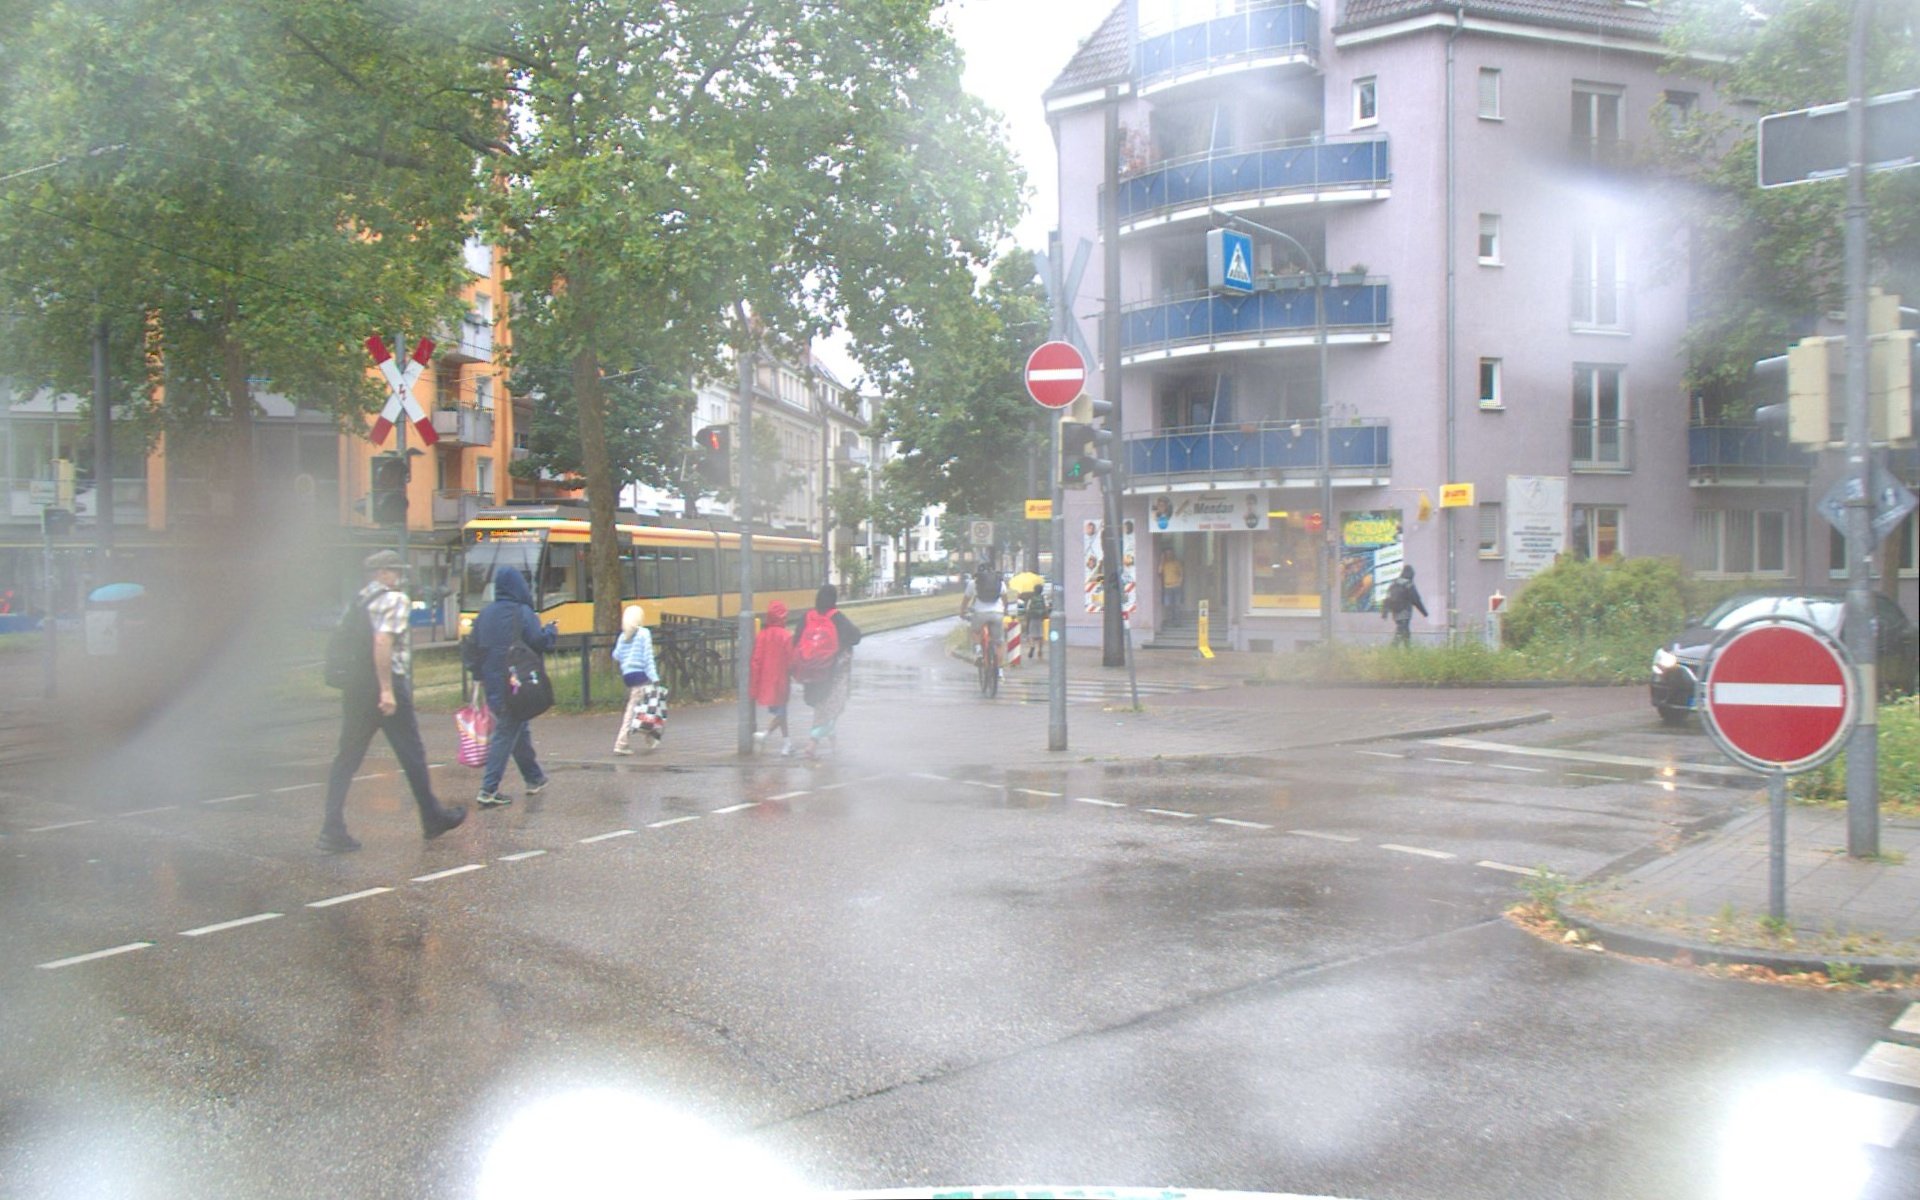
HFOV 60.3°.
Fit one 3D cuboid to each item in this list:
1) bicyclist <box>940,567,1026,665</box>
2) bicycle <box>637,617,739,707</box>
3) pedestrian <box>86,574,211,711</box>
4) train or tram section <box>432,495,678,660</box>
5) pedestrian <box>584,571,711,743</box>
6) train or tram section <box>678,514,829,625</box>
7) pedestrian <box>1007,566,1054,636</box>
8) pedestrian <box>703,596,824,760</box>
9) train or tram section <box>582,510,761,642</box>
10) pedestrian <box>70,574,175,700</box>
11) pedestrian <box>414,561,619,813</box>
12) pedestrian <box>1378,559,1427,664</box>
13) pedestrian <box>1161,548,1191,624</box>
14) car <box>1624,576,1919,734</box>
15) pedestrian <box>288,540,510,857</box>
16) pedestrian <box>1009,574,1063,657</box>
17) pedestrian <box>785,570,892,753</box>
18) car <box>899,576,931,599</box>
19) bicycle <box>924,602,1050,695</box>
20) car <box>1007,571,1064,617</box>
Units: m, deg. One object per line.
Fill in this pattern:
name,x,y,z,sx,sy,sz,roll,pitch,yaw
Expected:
bicyclist,0.316,0.206,23.329,0.734,1.332,1.064,-2,2,-34
bicycle,-3.578,0.795,21.885,0.436,1.095,1.616,0,1,28
pedestrian,-11.137,0.557,22.722,1.210,1.820,1.036,0,1,30
train or tram section,-9.156,-0.528,38.604,2.581,3.428,8.384,0,1,9
pedestrian,-2.923,0.511,15.565,0.857,1.552,1.066,-1,1,8
train or tram section,-6.767,-1.003,55.941,2.581,3.409,9.996,0,1,8
pedestrian,1.800,0.018,42.019,0.933,1.727,0.921,0,1,20
pedestrian,-1.778,0.683,15.074,0.658,1.405,1.010,0,2,24
train or tram section,-7.965,-0.675,46.871,2.581,3.409,8.384,0,1,8
pedestrian,-13.410,0.570,26.477,1.164,1.897,1.364,1,2,-42
pedestrian,-3.233,0.588,12.089,0.977,1.715,1.052,0,2,37
pedestrian,7.850,0.194,29.336,0.631,1.835,0.618,0,2,42
pedestrian,4.728,-0.311,36.200,0.463,1.630,0.592,0,1,33
car,9.057,0.493,18.044,1.961,1.486,4.148,1,2,44
pedestrian,-3.381,0.550,10.036,0.792,1.812,0.995,0,1,19
pedestrian,1.492,0.291,32.245,0.970,1.586,0.785,-1,1,7
pedestrian,-1.080,0.533,14.850,0.676,1.574,0.762,0,1,21
car,-3.142,-0.905,116.996,1.952,1.559,4.002,0,1,3
bicycle,0.356,0.652,23.278,0.744,1.193,2.017,-2,2,-34
car,2.964,-0.253,64.527,1.951,1.702,4.003,-1,1,6
